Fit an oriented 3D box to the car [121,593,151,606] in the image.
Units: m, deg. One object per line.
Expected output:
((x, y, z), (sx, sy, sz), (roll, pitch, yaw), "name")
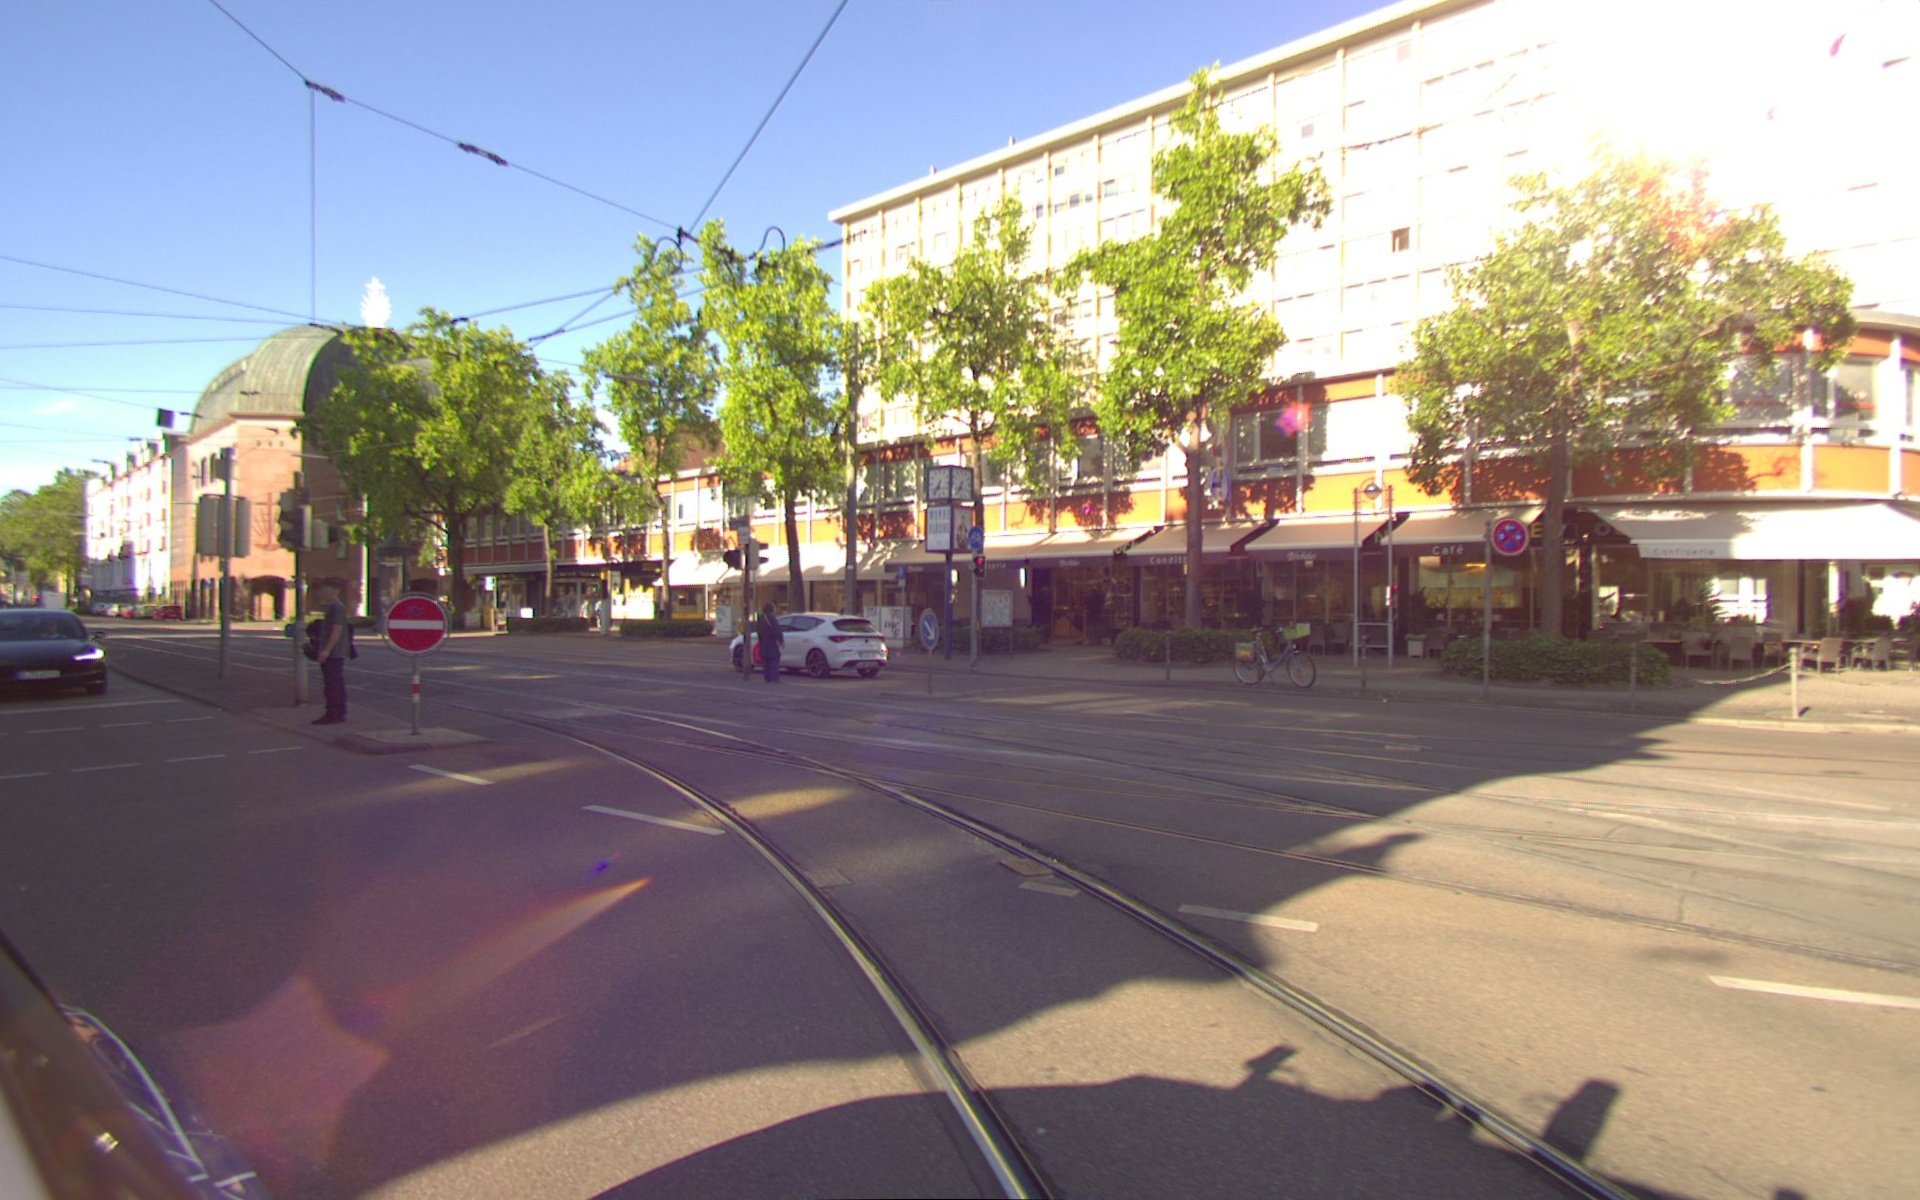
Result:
((-82.289, -0.043, 101.006), (3.854, 1.364, 1.831), (0, 0, 43), "car")

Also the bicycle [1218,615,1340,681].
((6.141, 0.894, 19.590), (2.234, 1.195, 0.492), (0, -1, 42), "bicycle")

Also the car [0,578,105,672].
((-15.996, 0.377, 17.169), (4.154, 1.434, 1.791), (0, 1, 43), "car")

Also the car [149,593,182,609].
((-71.415, 0.106, 90.974), (3.470, 1.465, 1.730), (0, 0, 42), "car")

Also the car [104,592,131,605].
((-90.573, -0.156, 108.768), (3.854, 1.465, 1.831), (0, 0, 43), "car")

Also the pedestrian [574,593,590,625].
((-21.106, 0.505, 56.458), (0.706, 1.785, 0.566), (0, -2, 44), "pedestrian")

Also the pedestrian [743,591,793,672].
((-3.730, 0.605, 19.656), (0.859, 1.529, 0.494), (0, -3, 43), "pedestrian")

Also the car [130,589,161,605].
((-78.646, -0.272, 97.684), (3.854, 1.465, 1.831), (0, 0, 43), "car")

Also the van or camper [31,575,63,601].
((-103.553, -1.324, 114.722), (7.020, 2.760, 2.014), (0, -2, 43), "van or camper")

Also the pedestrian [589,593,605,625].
((-20.512, 0.521, 57.108), (0.706, 1.763, 0.566), (0, -2, 44), "pedestrian")

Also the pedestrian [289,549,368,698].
((-7.862, 0.294, 12.593), (0.895, 1.777, 0.552), (0, -3, 43), "pedestrian")

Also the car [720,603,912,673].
((-3.416, 0.821, 23.474), (4.500, 1.462, 1.972), (0, -1, 42), "car")
